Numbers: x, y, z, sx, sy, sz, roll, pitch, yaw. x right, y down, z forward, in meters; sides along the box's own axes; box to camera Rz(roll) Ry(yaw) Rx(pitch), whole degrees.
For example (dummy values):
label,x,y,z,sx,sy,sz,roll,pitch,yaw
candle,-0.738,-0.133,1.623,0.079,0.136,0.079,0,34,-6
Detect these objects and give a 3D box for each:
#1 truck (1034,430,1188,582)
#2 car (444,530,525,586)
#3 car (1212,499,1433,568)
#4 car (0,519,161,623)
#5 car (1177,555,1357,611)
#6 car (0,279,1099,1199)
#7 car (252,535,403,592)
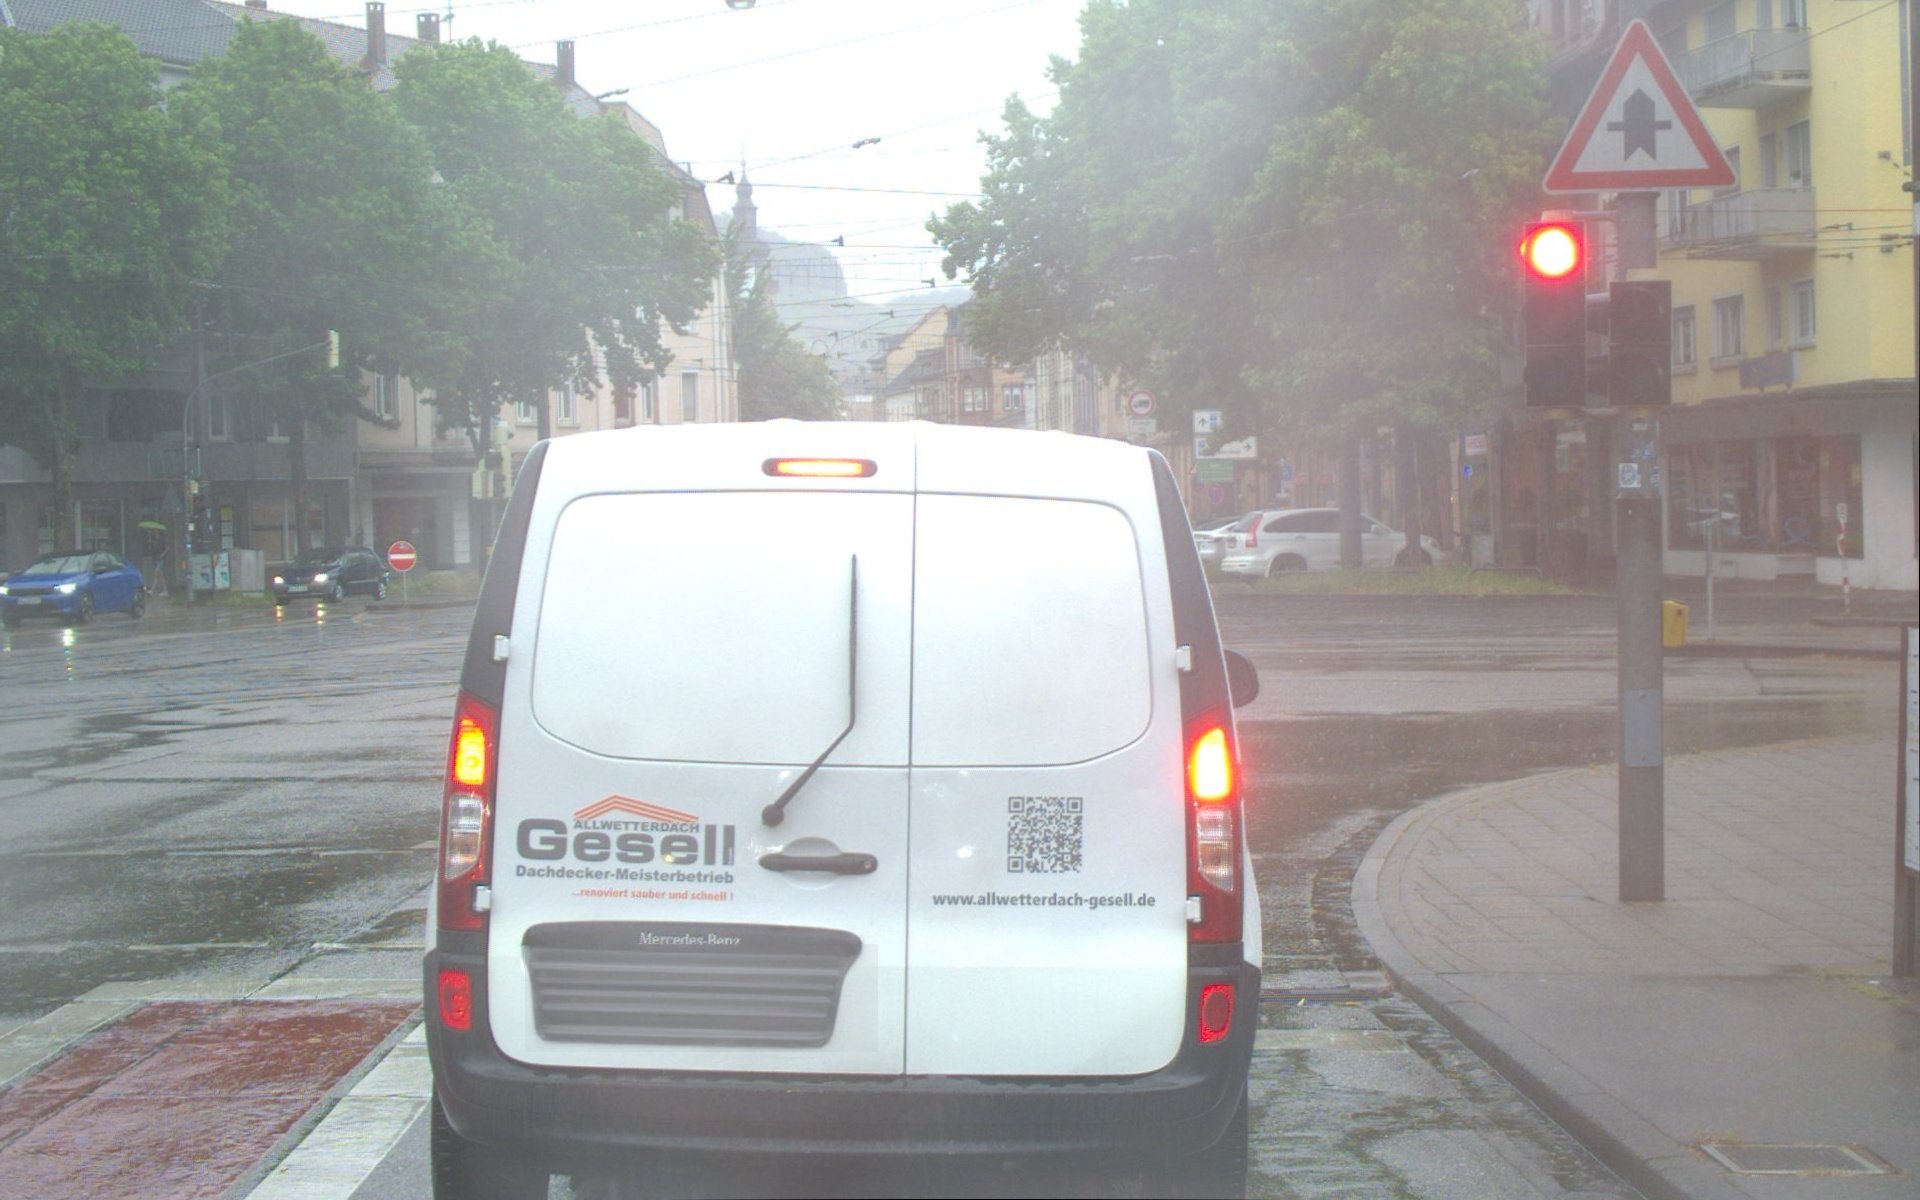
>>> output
label,x,y,z,sx,sy,sz,roll,pitch,yaw
truck,5.511,-3.240,121.905,3.471,5.070,15.301,0,1,10
car,-13.428,-1.187,97.241,1.783,1.546,4.000,0,1,-1
car,7.253,-1.345,68.935,4.165,1.334,1.521,-1,2,-7
car,-17.562,-0.594,68.356,1.994,2.007,3.999,0,1,8
car,6.296,-0.358,70.688,3.441,1.126,1.472,0,1,-8
car,-0.821,0.380,8.940,2.100,2.005,4.963,0,1,-1
car,-15.160,-0.898,82.607,1.952,1.235,3.997,0,2,16
